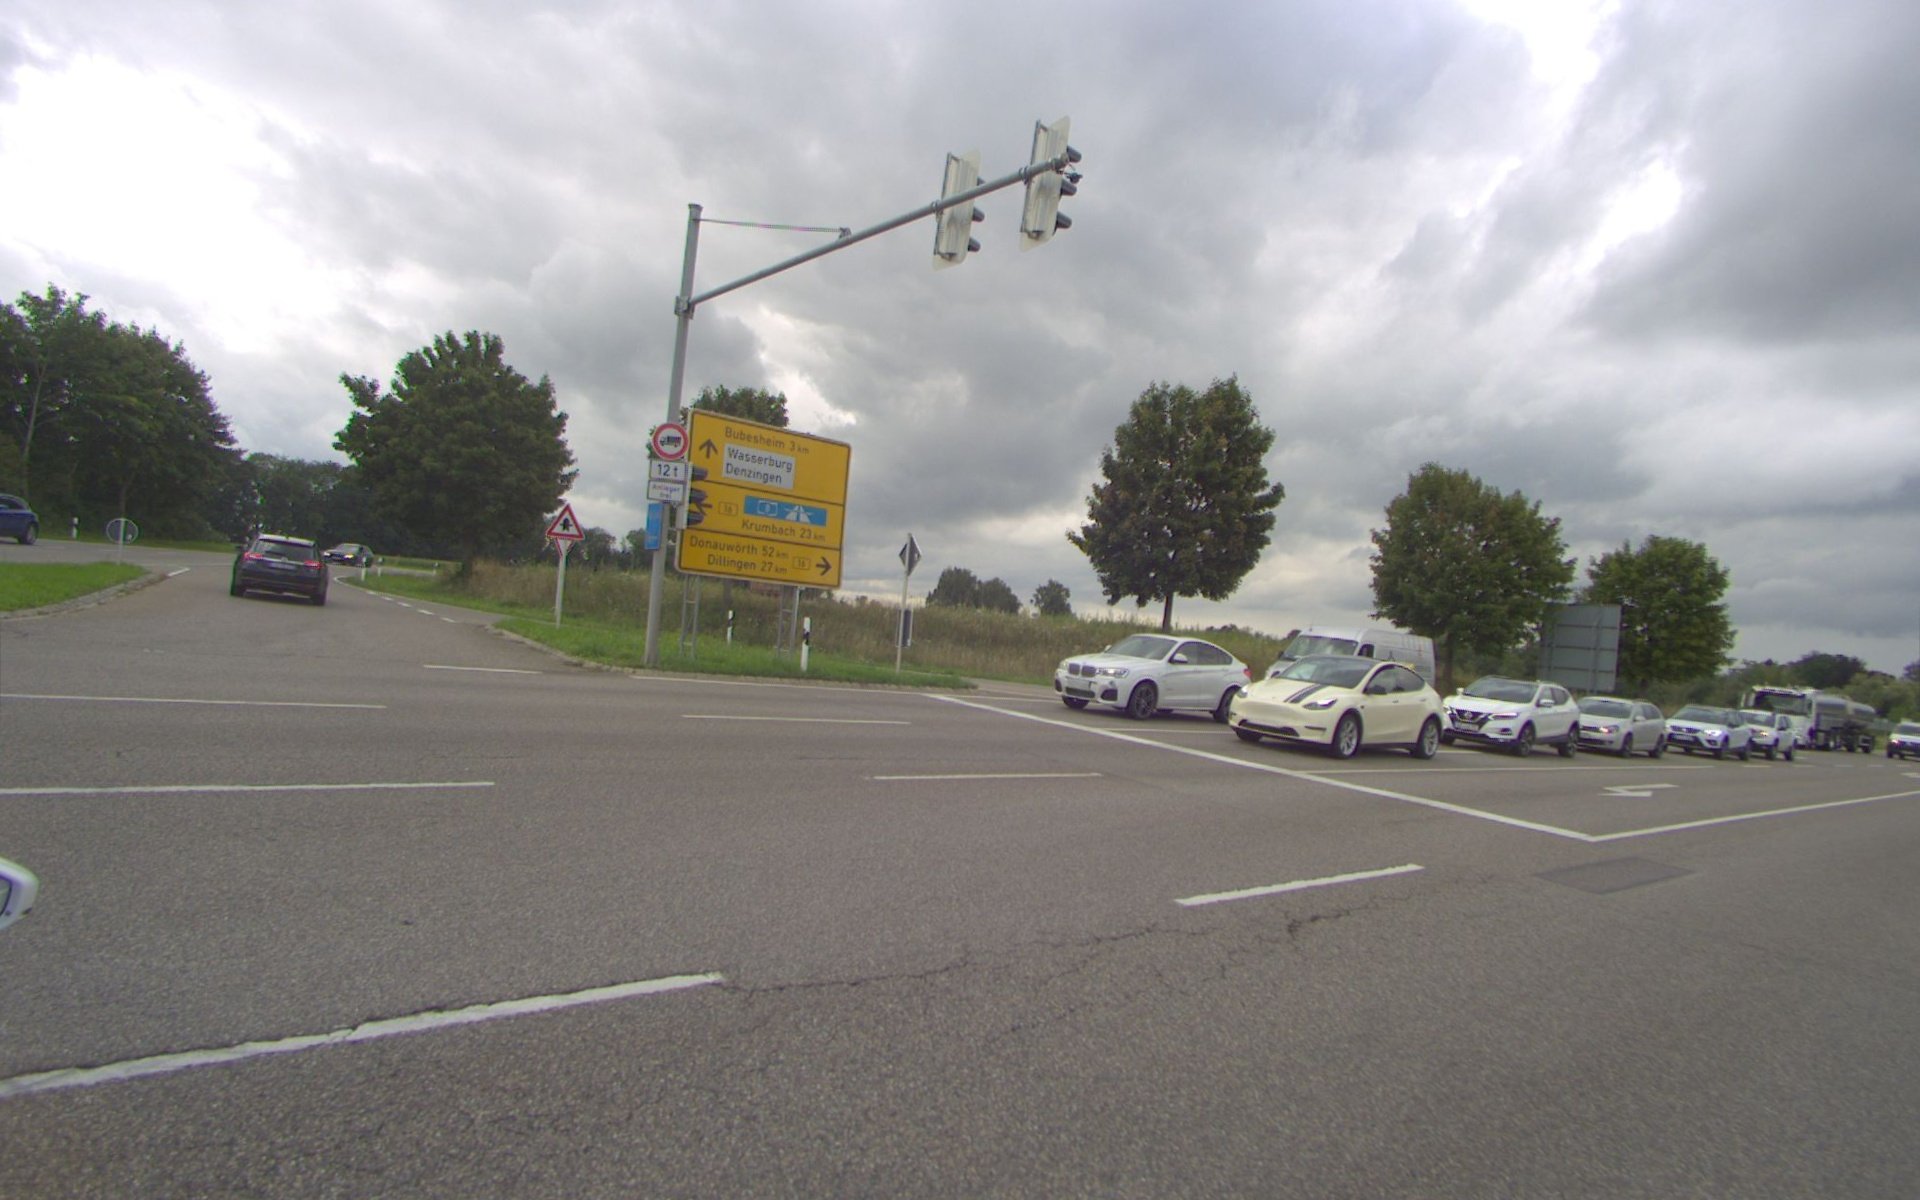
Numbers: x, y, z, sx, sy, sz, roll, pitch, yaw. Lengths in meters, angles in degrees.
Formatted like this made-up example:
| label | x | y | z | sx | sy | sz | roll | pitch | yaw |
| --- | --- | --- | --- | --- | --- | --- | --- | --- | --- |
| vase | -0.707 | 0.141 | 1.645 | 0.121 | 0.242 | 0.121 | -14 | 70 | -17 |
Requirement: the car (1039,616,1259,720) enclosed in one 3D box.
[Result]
| label | x | y | z | sx | sy | sz | roll | pitch | yaw |
| --- | --- | --- | --- | --- | --- | --- | --- | --- | --- |
| car | 3.808 | 1.384 | 19.904 | 4.244 | 1.648 | 1.978 | 7 | -2 | -41 |

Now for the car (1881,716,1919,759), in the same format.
| label | x | y | z | sx | sy | sz | roll | pitch | yaw |
| --- | --- | --- | --- | --- | --- | --- | --- | --- | --- |
| car | 51.207 | 7.422 | 53.751 | 4.643 | 2.038 | 2.147 | 7 | -1 | -39 |

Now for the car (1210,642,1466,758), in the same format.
| label | x | y | z | sx | sy | sz | roll | pitch | yaw |
| --- | --- | --- | --- | --- | --- | --- | --- | --- | --- |
| car | 6.542 | 1.749 | 17.154 | 4.713 | 1.583 | 1.978 | 7 | -2 | -40 |

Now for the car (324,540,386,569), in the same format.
| label | x | y | z | sx | sy | sz | roll | pitch | yaw |
| --- | --- | --- | --- | --- | --- | --- | --- | --- | --- |
| car | -40.555 | -3.032 | 67.584 | 1.967 | 1.521 | 4.658 | 7 | -1 | -11 |

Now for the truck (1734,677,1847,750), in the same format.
| label | x | y | z | sx | sy | sz | roll | pitch | yaw |
| --- | --- | --- | --- | --- | --- | --- | --- | --- | --- |
| truck | 43.158 | 5.941 | 52.180 | 7.352 | 3.146 | 3.075 | 7 | -1 | -40 |

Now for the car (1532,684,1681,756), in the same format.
| label | x | y | z | sx | sy | sz | roll | pitch | yaw |
| --- | --- | --- | --- | --- | --- | --- | --- | --- | --- |
| car | 17.013 | 3.175 | 26.396 | 4.548 | 1.472 | 1.978 | 8 | -1 | -41 |

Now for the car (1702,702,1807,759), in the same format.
| label | x | y | z | sx | sy | sz | roll | pitch | yaw |
| --- | --- | --- | --- | --- | --- | --- | --- | --- | --- |
| car | 27.844 | 4.579 | 35.219 | 4.415 | 1.611 | 1.978 | 8 | -1 | -41 |

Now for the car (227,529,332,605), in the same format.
| label | x | y | z | sx | sy | sz | roll | pitch | yaw |
| --- | --- | --- | --- | --- | --- | --- | --- | --- | --- |
| car | -16.110 | -0.781 | 23.771 | 1.797 | 1.468 | 4.233 | 7 | -2 | -36 |

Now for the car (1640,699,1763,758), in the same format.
| label | x | y | z | sx | sy | sz | roll | pitch | yaw |
| --- | --- | --- | --- | --- | --- | --- | --- | --- | --- |
| car | 23.129 | 4.023 | 31.328 | 4.412 | 1.435 | 1.979 | 8 | -1 | -39 |

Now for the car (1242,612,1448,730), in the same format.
| label | x | y | z | sx | sy | sz | roll | pitch | yaw |
| --- | --- | --- | --- | --- | --- | --- | --- | --- | --- |
| car | 9.852 | 1.848 | 25.534 | 5.471 | 2.470 | 2.373 | 7 | -2 | -40 |

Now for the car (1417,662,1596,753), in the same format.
| label | x | y | z | sx | sy | sz | roll | pitch | yaw |
| --- | --- | --- | --- | --- | --- | --- | --- | --- | --- |
| car | 12.162 | 2.411 | 22.265 | 4.290 | 1.648 | 1.979 | 7 | -2 | -40 |

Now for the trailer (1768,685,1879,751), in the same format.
| label | x | y | z | sx | sy | sz | roll | pitch | yaw |
| --- | --- | --- | --- | --- | --- | --- | --- | --- | --- |
| trailer | 49.919 | 6.872 | 58.016 | 10.583 | 3.128 | 3.074 | 8 | -1 | -40 |

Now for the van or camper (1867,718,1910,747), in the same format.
| label | x | y | z | sx | sy | sz | roll | pitch | yaw |
| --- | --- | --- | --- | --- | --- | --- | --- | --- | --- |
| van or camper | 75.766 | 10.807 | 82.061 | 3.970 | 2.037 | 1.980 | 7 | -3 | -40 |

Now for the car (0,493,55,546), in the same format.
| label | x | y | z | sx | sy | sz | roll | pitch | yaw |
| --- | --- | --- | --- | --- | --- | --- | --- | --- | --- |
| car | -31.747 | -2.748 | 32.418 | 1.971 | 1.589 | 4.738 | 7 | -1 | -18 |
